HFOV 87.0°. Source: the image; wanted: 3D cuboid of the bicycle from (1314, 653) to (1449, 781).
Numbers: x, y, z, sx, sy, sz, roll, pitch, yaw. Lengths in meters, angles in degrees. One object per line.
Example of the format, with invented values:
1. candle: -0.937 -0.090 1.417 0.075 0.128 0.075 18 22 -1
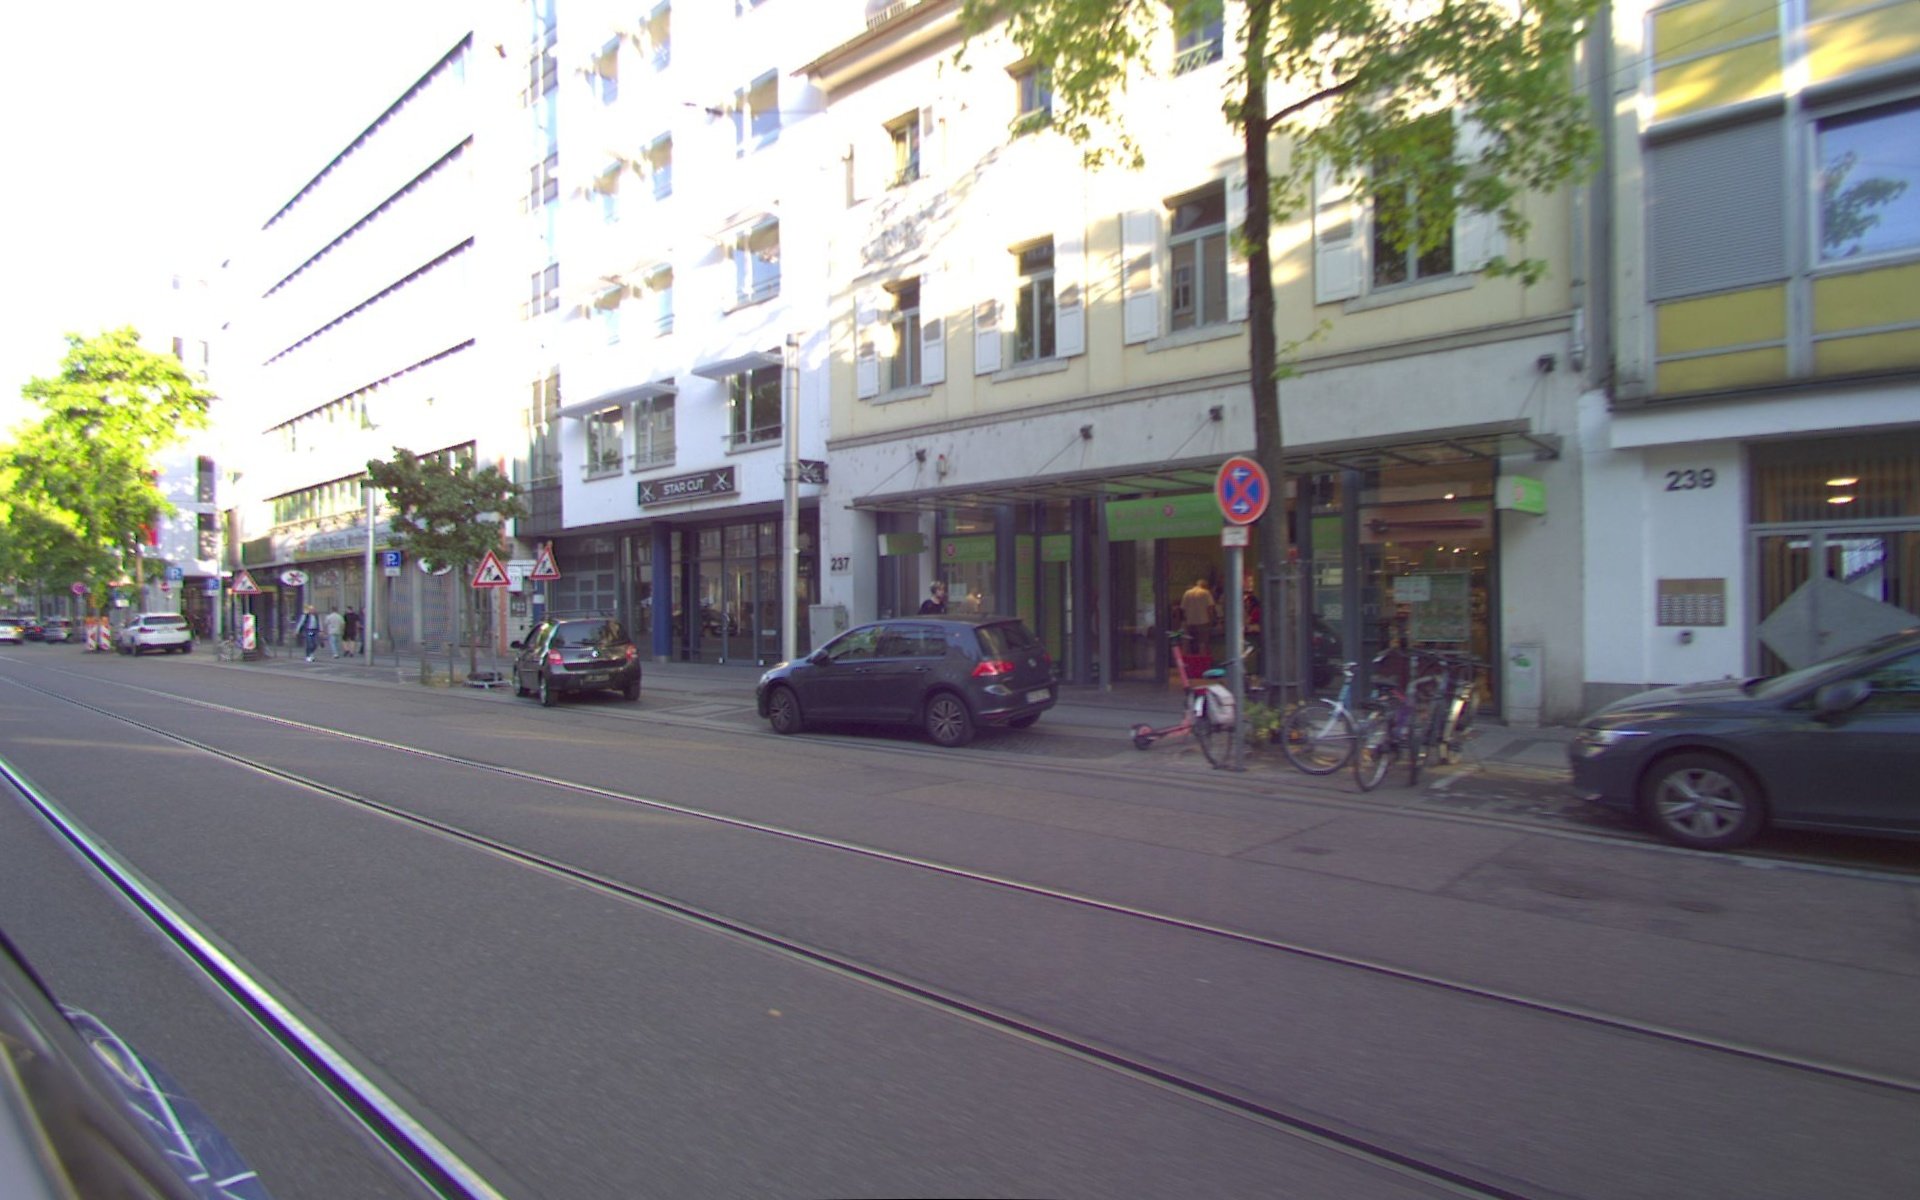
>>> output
1. bicycle: 3.970 1.038 9.442 1.948 1.009 0.420 0 -1 -44

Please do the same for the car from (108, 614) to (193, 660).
1. car: -34.172 1.539 42.681 4.742 1.767 1.973 -2 1 41

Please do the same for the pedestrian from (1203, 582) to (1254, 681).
1. pedestrian: 5.002 0.575 18.850 0.684 1.792 0.662 -2 -2 41

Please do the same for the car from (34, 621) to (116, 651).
1. car: -54.175 2.198 62.024 1.773 1.572 3.385 -1 2 15

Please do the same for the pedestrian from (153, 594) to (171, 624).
1. pedestrian: -45.273 0.509 57.412 0.612 1.658 0.716 -2 -2 43

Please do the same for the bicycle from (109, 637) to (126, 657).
1. bicycle: -38.912 2.179 46.716 0.496 0.843 1.536 -3 2 -42

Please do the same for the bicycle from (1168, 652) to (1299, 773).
1. bicycle: 2.721 1.057 9.917 0.331 1.009 1.948 -1 -1 44

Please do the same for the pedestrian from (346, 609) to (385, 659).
1. pedestrian: -21.023 1.196 35.785 1.037 1.708 0.823 -1 1 42

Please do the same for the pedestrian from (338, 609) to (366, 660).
1. pedestrian: -20.910 1.184 34.788 0.620 1.726 0.808 -1 0 -45

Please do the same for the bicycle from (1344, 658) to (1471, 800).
1. bicycle: 3.861 1.045 8.651 0.331 1.009 1.948 -1 -1 44

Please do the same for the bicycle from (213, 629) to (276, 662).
1. bicycle: -25.173 1.591 35.624 1.724 0.999 0.479 -4 1 -41

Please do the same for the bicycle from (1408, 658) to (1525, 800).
1. bicycle: 4.345 1.039 8.616 0.330 1.009 1.949 -1 -1 43

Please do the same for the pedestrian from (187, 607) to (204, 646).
1. pedestrian: -40.814 1.419 54.012 0.592 2.029 0.608 -2 -2 40

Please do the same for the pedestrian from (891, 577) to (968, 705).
1. pedestrian: -0.464 0.592 15.195 0.878 1.839 0.653 -1 1 42

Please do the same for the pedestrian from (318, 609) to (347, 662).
1. pedestrian: -21.080 1.188 34.020 0.634 1.726 0.830 -1 0 -45

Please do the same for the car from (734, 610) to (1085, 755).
1. car: -0.728 0.920 12.778 4.233 1.501 1.776 -1 1 36

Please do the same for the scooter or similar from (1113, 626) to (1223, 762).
1. scooter or similar: 2.209 0.945 10.657 1.403 1.280 0.375 -2 0 -44

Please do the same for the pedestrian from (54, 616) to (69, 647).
1. pedestrian: -57.925 2.037 65.246 0.723 1.948 0.647 -2 -2 44

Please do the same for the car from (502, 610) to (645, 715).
1. car: -7.056 1.031 18.275 1.608 1.628 3.718 -2 0 -33

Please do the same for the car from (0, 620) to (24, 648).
1. car: -56.729 1.991 59.637 4.199 1.624 1.864 -2 -3 42

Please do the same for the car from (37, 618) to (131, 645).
1. car: -55.954 1.967 64.707 1.568 1.423 4.285 -1 2 23

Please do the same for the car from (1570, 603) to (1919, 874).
1. car: 6.332 0.772 5.923 4.485 1.472 1.693 -1 1 42

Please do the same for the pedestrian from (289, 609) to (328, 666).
1. pedestrian: -21.020 1.199 32.651 0.831 1.780 0.842 -2 -1 39

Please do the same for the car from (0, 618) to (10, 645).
1. car: -64.896 2.100 67.391 4.199 1.820 2.012 -2 -2 42
